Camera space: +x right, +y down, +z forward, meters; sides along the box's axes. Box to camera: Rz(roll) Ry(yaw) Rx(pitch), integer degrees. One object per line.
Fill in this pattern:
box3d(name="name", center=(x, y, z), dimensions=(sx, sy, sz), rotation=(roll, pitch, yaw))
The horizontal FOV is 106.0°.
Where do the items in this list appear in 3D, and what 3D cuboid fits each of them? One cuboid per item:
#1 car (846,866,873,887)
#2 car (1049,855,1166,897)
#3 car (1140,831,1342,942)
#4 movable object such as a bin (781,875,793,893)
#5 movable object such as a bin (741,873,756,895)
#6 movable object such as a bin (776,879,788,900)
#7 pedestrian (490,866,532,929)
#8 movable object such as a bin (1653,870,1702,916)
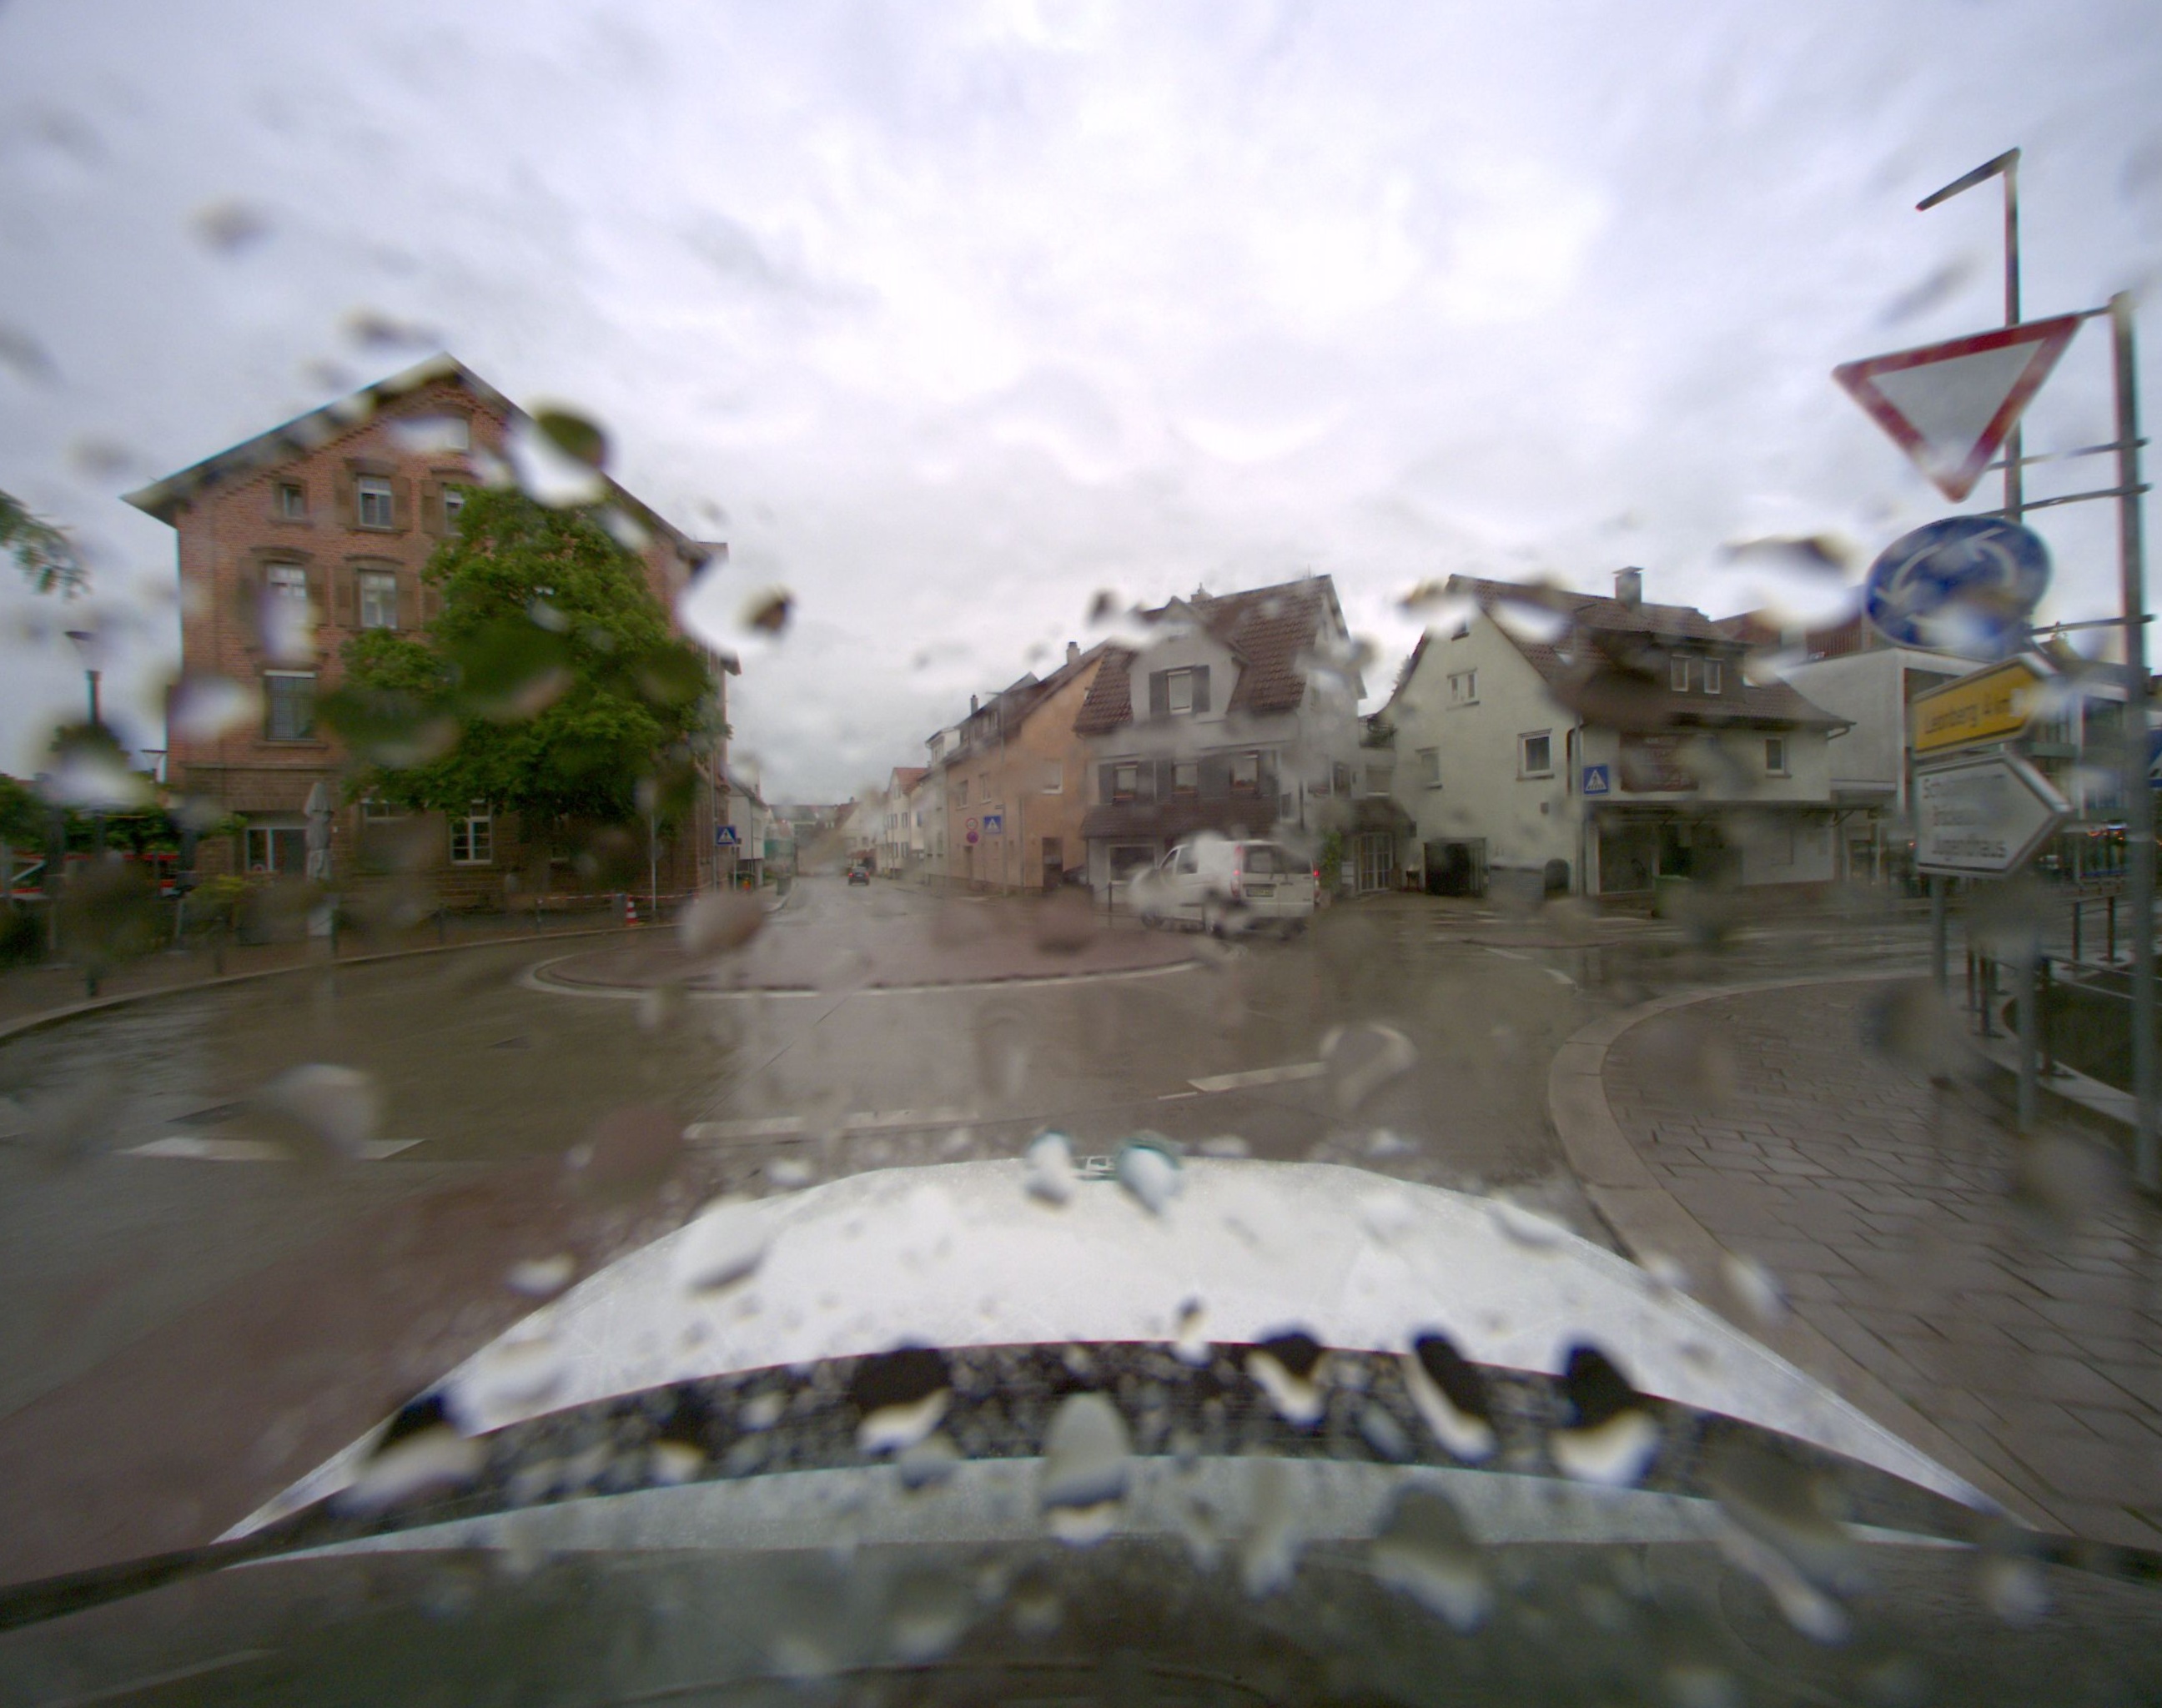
box3d(name="car", center=(-18.465, 1.854, 67.801), dimensions=(1.978, 1.679, 4.042), rotation=(-1, -2, -19))
box3d(name="car", center=(1.009, 0.841, 31.277), dimensions=(4.006, 1.486, 1.983), rotation=(-1, -2, -25))
box3d(name="car", center=(3.028, 0.626, 16.786), dimensions=(2.156, 1.899, 4.900), rotation=(-1, -1, -15))
box3d(name="movable object such as a bin", center=(-18.808, 1.899, 52.059), dimensions=(0.657, 1.169, 0.776), rotation=(0, -2, -23))
box3d(name="movable object such as a bin", center=(-18.379, 1.655, 45.071), dimensions=(0.751, 1.169, 0.626), rotation=(0, -2, -24))
box3d(name="movable object such as a bin", center=(-17.347, 2.052, 47.258), dimensions=(0.629, 1.173, 0.756), rotation=(0, -2, -23))
box3d(name="pedestrian", center=(-17.422, 1.318, 24.912), dimensions=(0.843, 1.886, 0.819), rotation=(0, -2, -20))
box3d(name="movable object such as a bin", center=(14.902, 0.972, 20.345), dimensions=(0.762, 1.081, 0.683), rotation=(1, 2, -27))
